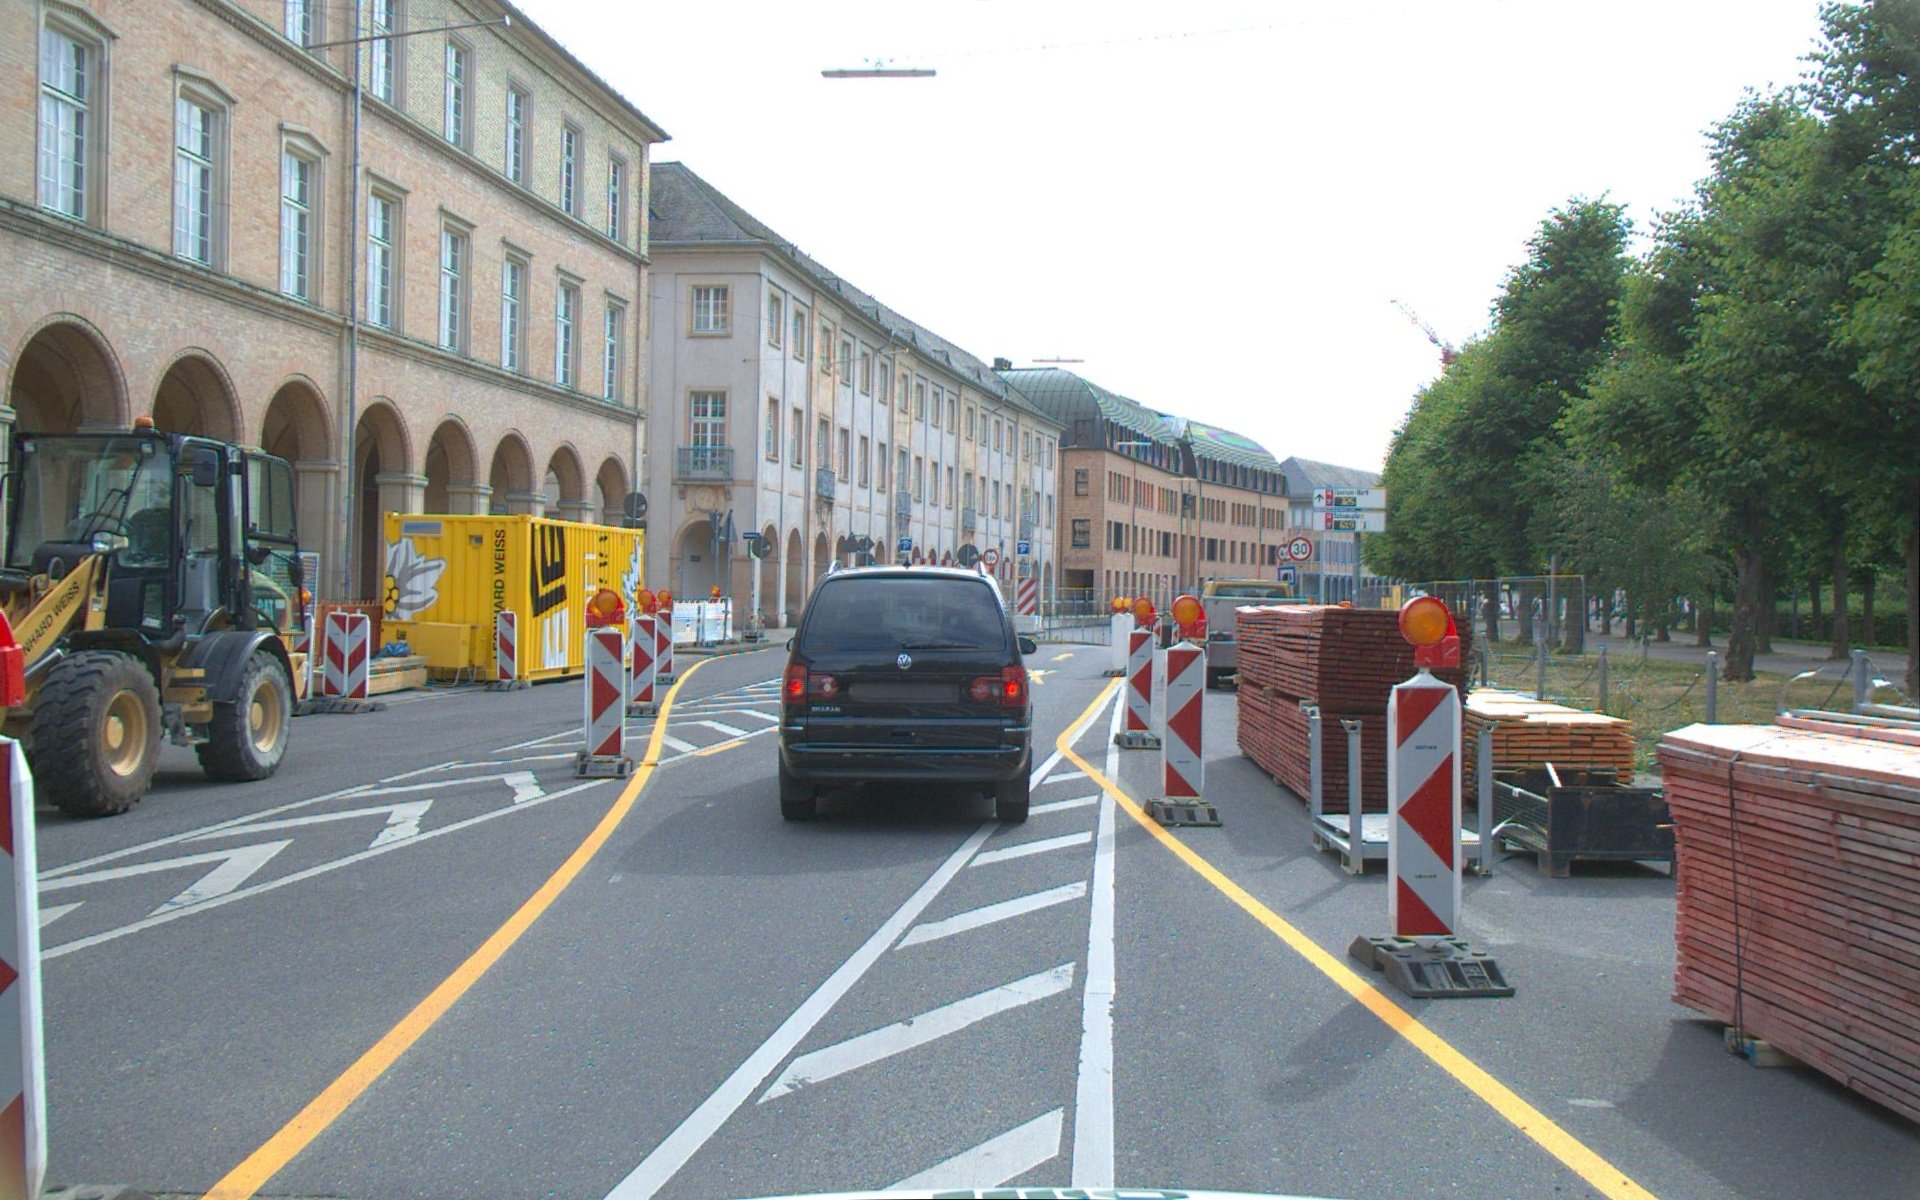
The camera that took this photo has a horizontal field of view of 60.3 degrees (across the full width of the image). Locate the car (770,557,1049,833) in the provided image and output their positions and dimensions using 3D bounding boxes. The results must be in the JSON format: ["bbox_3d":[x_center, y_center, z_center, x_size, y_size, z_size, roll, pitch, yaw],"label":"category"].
[{"bbox_3d":[-0.329,0.593,12.591,1.757,1.738,4.131,1,0,0],"label":"car"}]

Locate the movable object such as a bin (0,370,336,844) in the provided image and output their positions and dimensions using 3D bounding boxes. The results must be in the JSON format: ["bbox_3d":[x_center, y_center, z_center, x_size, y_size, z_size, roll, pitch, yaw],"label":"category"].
[{"bbox_3d":[-6.522,0.025,12.002,2.072,2.766,4.620,1,0,2],"label":"movable object such as a bin"}]

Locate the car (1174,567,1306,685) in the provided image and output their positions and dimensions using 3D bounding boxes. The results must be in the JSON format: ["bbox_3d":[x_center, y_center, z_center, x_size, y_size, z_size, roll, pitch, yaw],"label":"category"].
[{"bbox_3d":[5.417,0.435,32.518,1.952,2.048,4.347,1,2,2],"label":"car"}]
